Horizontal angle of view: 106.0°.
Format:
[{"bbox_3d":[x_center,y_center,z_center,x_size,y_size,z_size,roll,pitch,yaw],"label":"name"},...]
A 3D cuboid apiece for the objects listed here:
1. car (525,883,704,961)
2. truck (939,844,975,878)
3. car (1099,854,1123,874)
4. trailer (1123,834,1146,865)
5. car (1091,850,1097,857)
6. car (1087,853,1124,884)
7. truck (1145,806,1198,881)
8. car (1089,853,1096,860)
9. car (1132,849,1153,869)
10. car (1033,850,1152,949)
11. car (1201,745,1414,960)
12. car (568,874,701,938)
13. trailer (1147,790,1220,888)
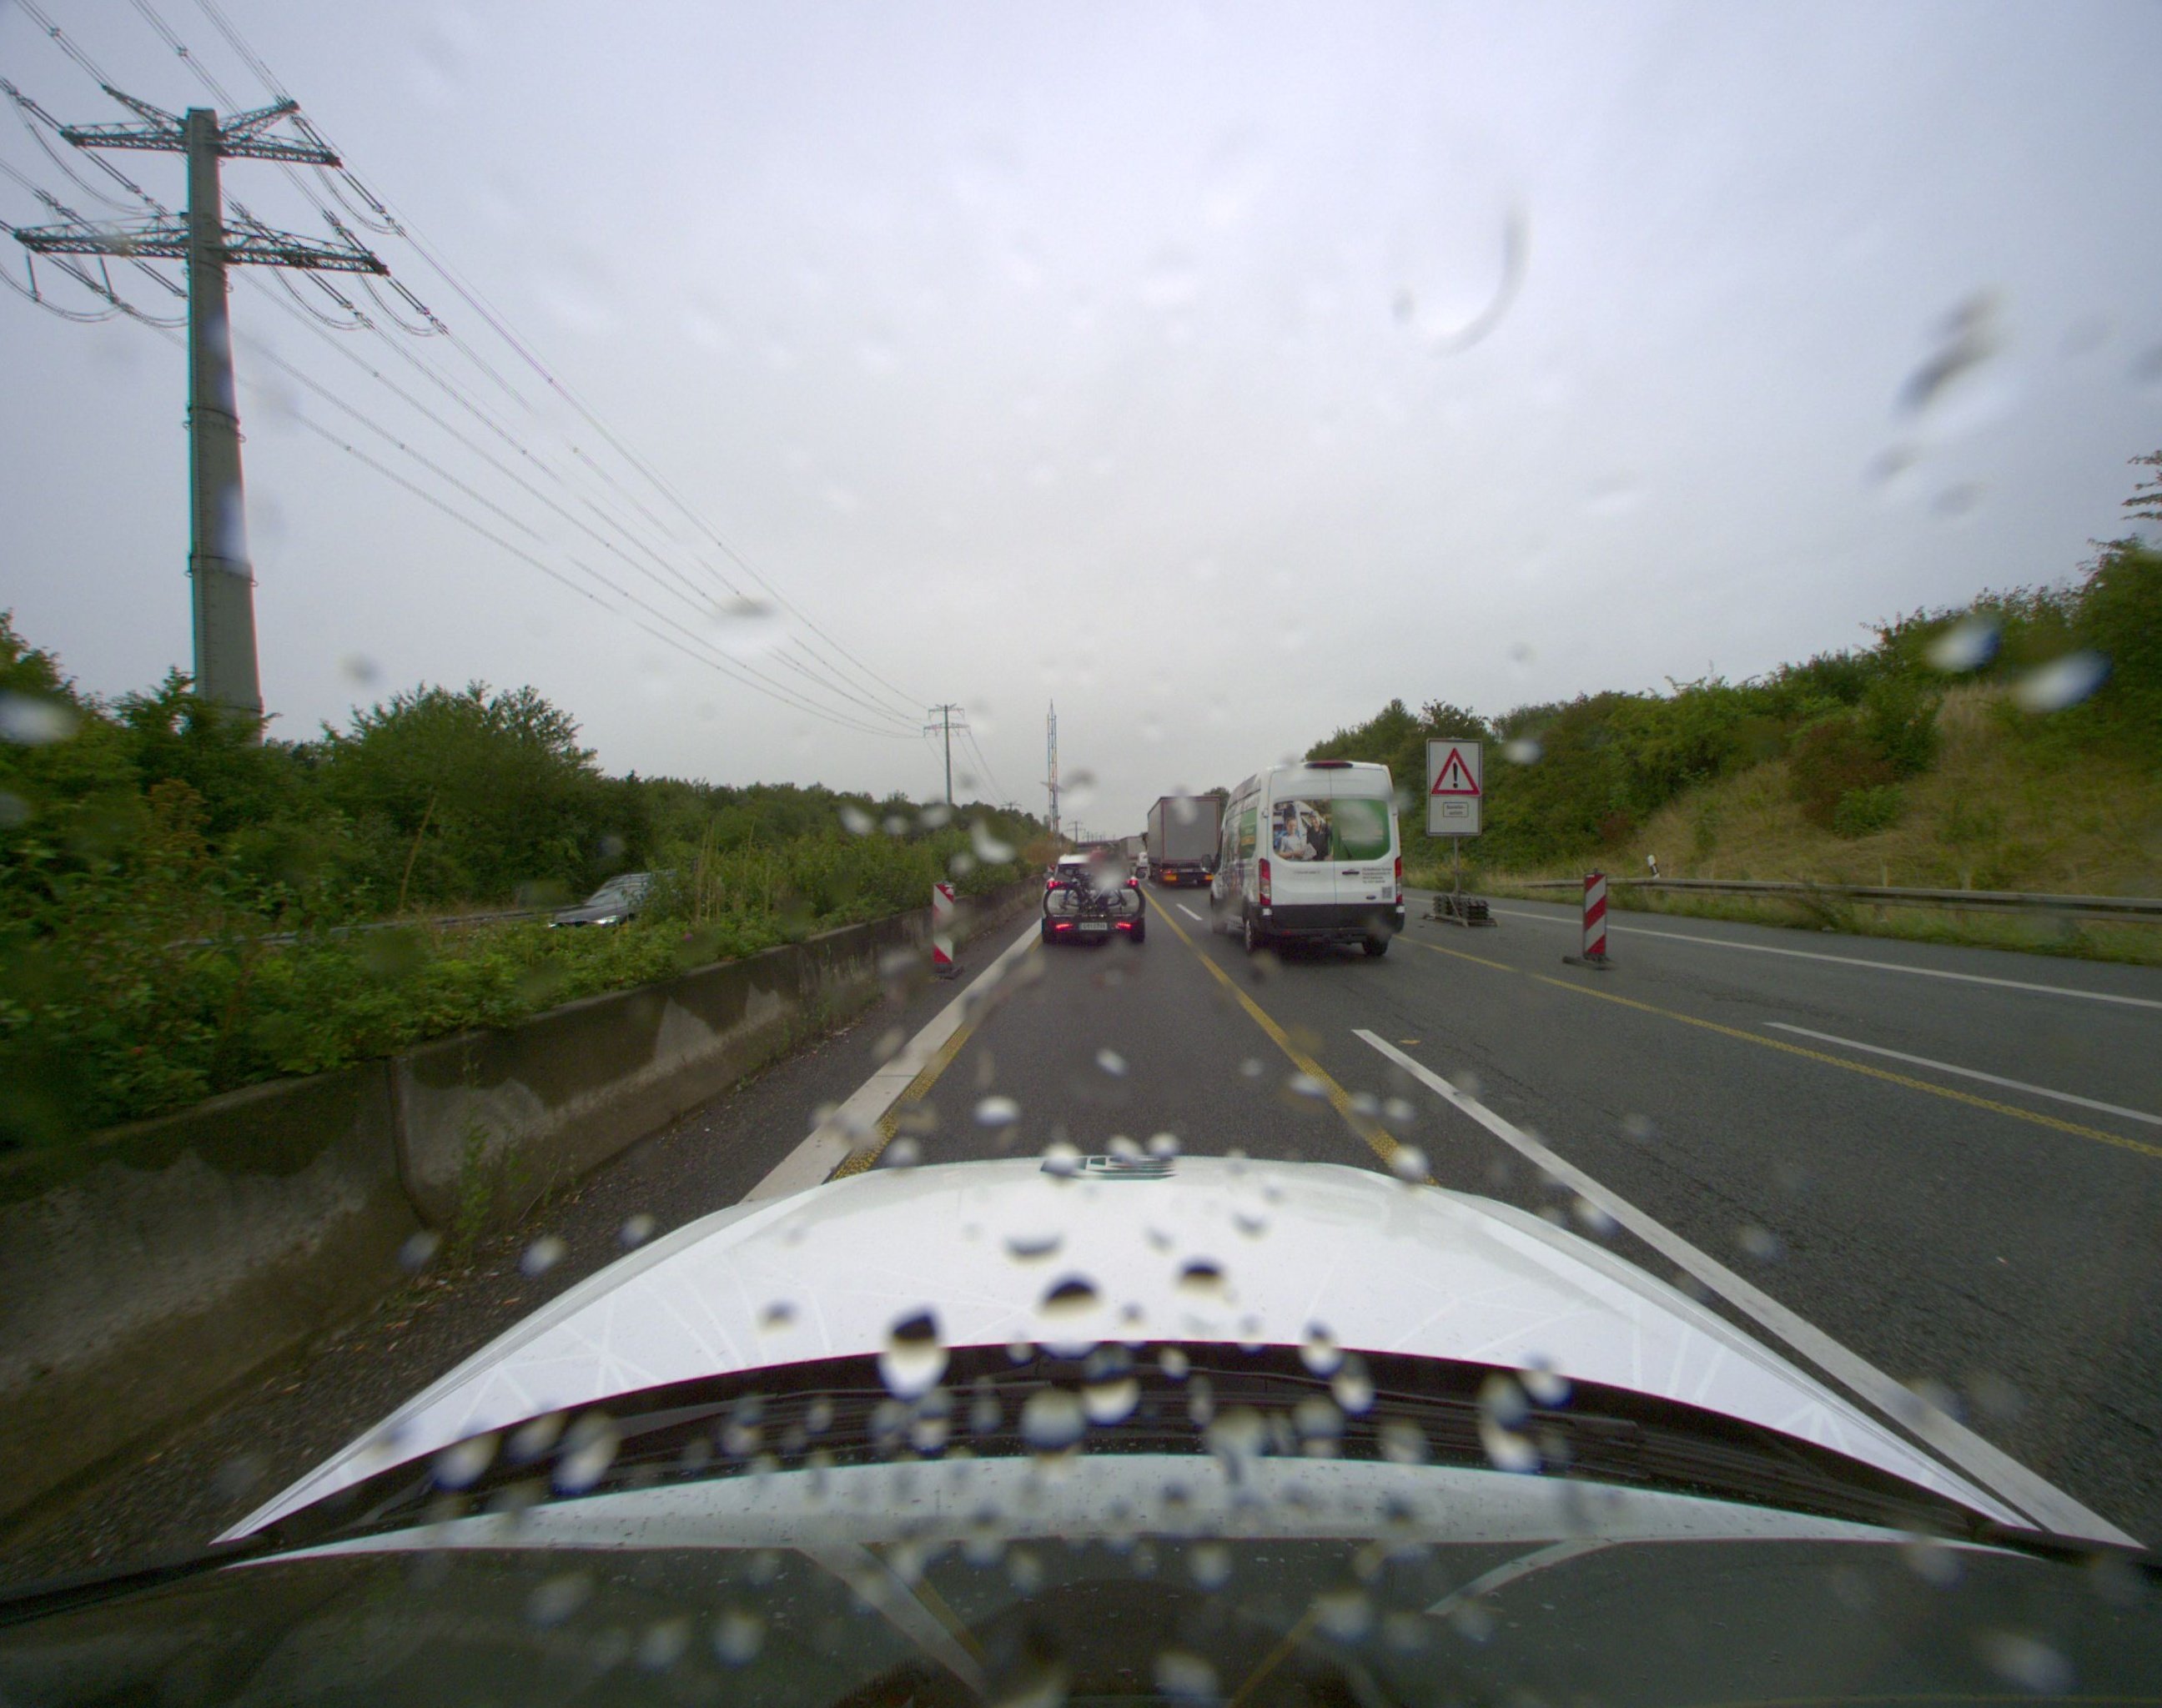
[{"bbox_3d":[-10.903,1.532,19.409,1.785,1.449,4.002,-3,0,2],"label":"car"},{"bbox_3d":[-13.054,0.715,86.508,2.252,3.227,7.055,-5,0,2],"label":"truck"},{"bbox_3d":[2.344,0.764,64.500,1.843,1.531,4.001,-1,0,2],"label":"car"},{"bbox_3d":[7.587,-0.598,117.378,2.682,4.076,13.638,-1,0,2],"label":"trailer"},{"bbox_3d":[4.154,-0.198,261.169,1.924,1.910,4.002,-1,1,2],"label":"car"},{"bbox_3d":[1.312,0.731,43.670,1.843,1.531,4.001,-1,0,2],"label":"car"},{"bbox_3d":[5.283,-0.565,48.485,2.695,4.138,5.695,-1,0,3],"label":"truck"},{"bbox_3d":[3.364,0.682,243.490,1.924,1.973,4.002,-1,1,2],"label":"car"},{"bbox_3d":[6.169,0.495,81.788,1.822,1.839,4.657,-1,0,2],"label":"car"},{"bbox_3d":[0.250,0.719,15.218,1.843,1.531,4.770,-1,0,2],"label":"car"},{"bbox_3d":[3.418,-0.019,13.643,1.986,2.782,5.757,-1,0,1],"label":"car"},{"bbox_3d":[-14.475,1.626,26.693,1.986,1.748,4.002,-3,0,2],"label":"car"},{"bbox_3d":[4.915,-0.635,41.599,2.695,4.146,13.743,-1,0,3],"label":"trailer"}]
